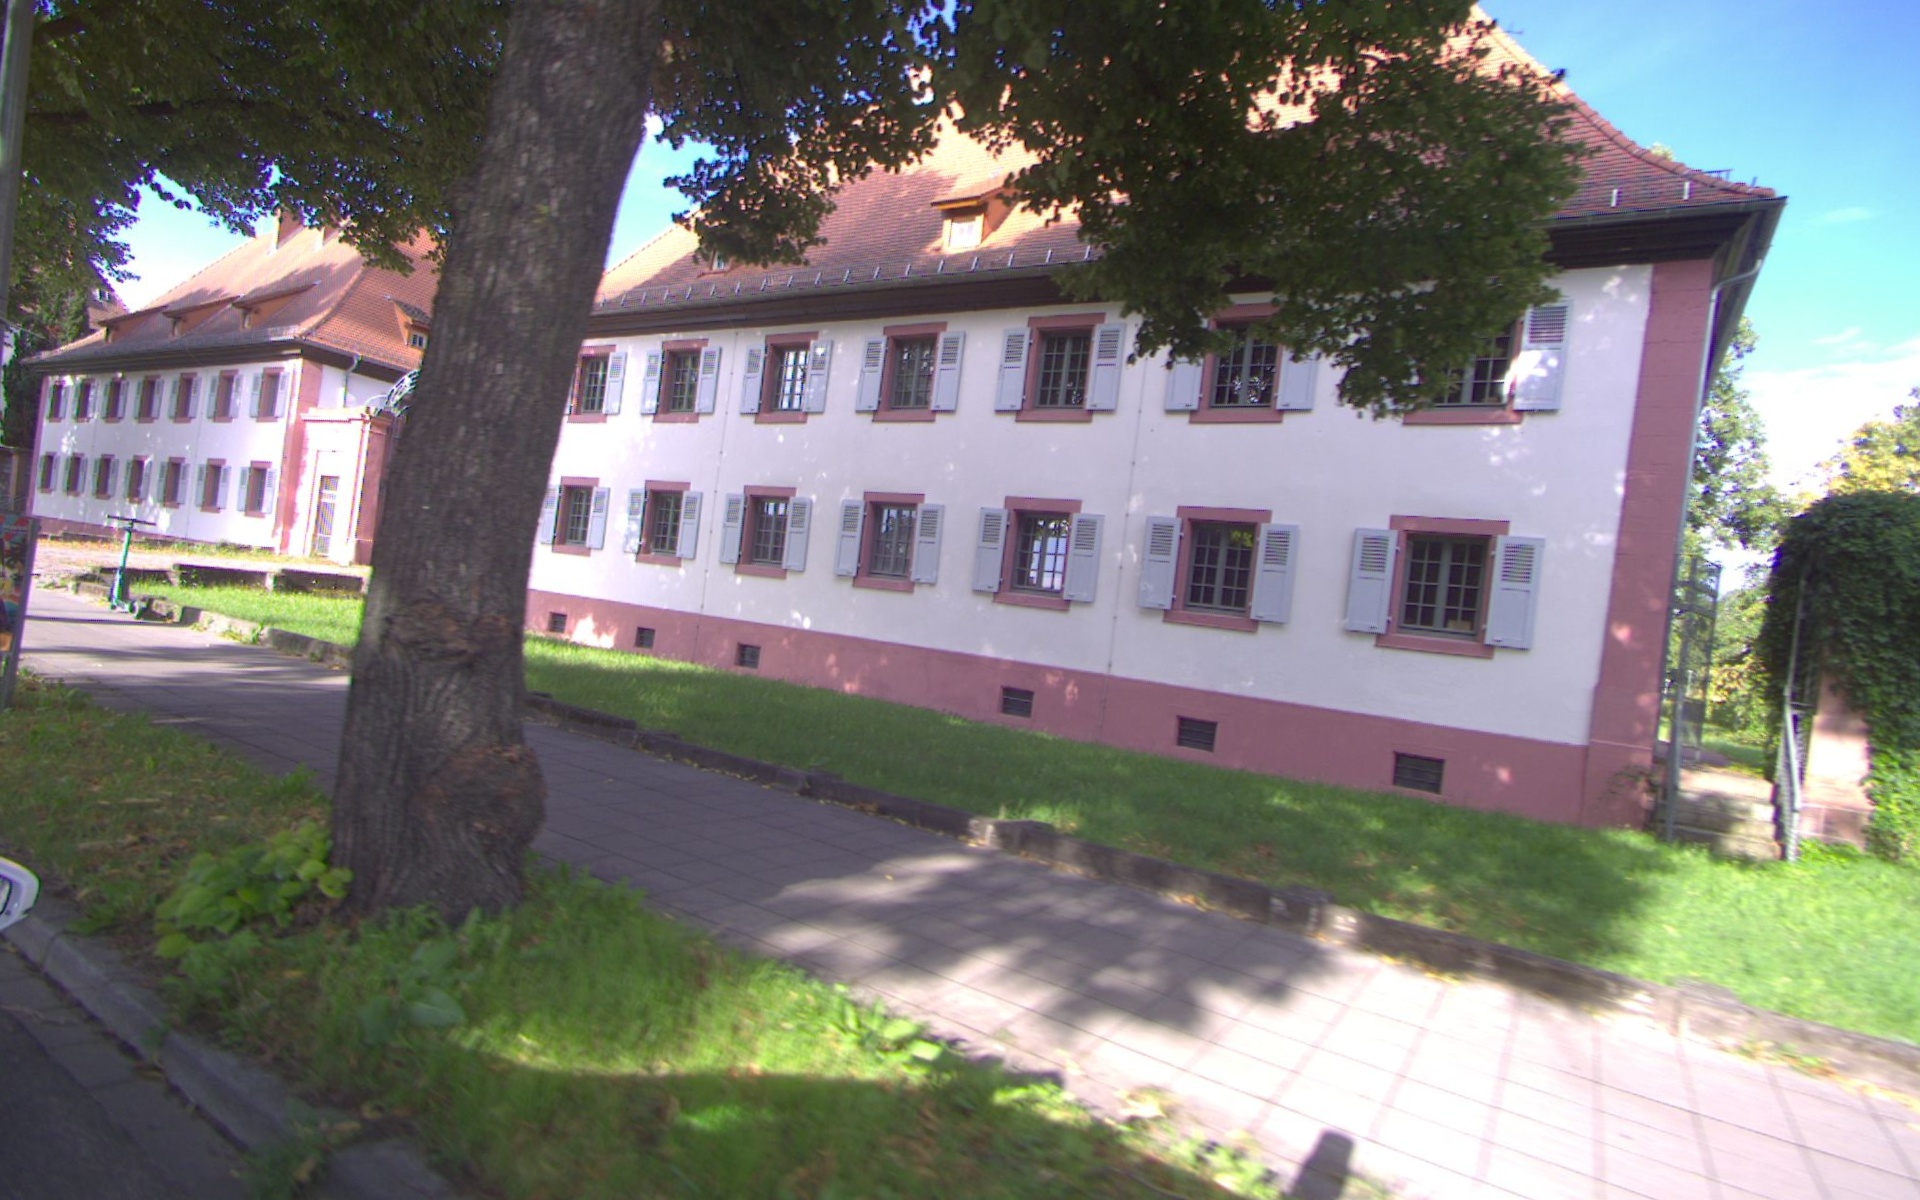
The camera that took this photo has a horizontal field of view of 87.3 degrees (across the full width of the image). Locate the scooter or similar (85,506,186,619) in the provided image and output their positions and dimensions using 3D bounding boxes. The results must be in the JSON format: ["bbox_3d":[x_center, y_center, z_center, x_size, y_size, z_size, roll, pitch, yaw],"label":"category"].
[{"bbox_3d":[-10.635,-0.490,12.967,1.359,1.308,0.579,7,2,34],"label":"scooter or similar"}]
